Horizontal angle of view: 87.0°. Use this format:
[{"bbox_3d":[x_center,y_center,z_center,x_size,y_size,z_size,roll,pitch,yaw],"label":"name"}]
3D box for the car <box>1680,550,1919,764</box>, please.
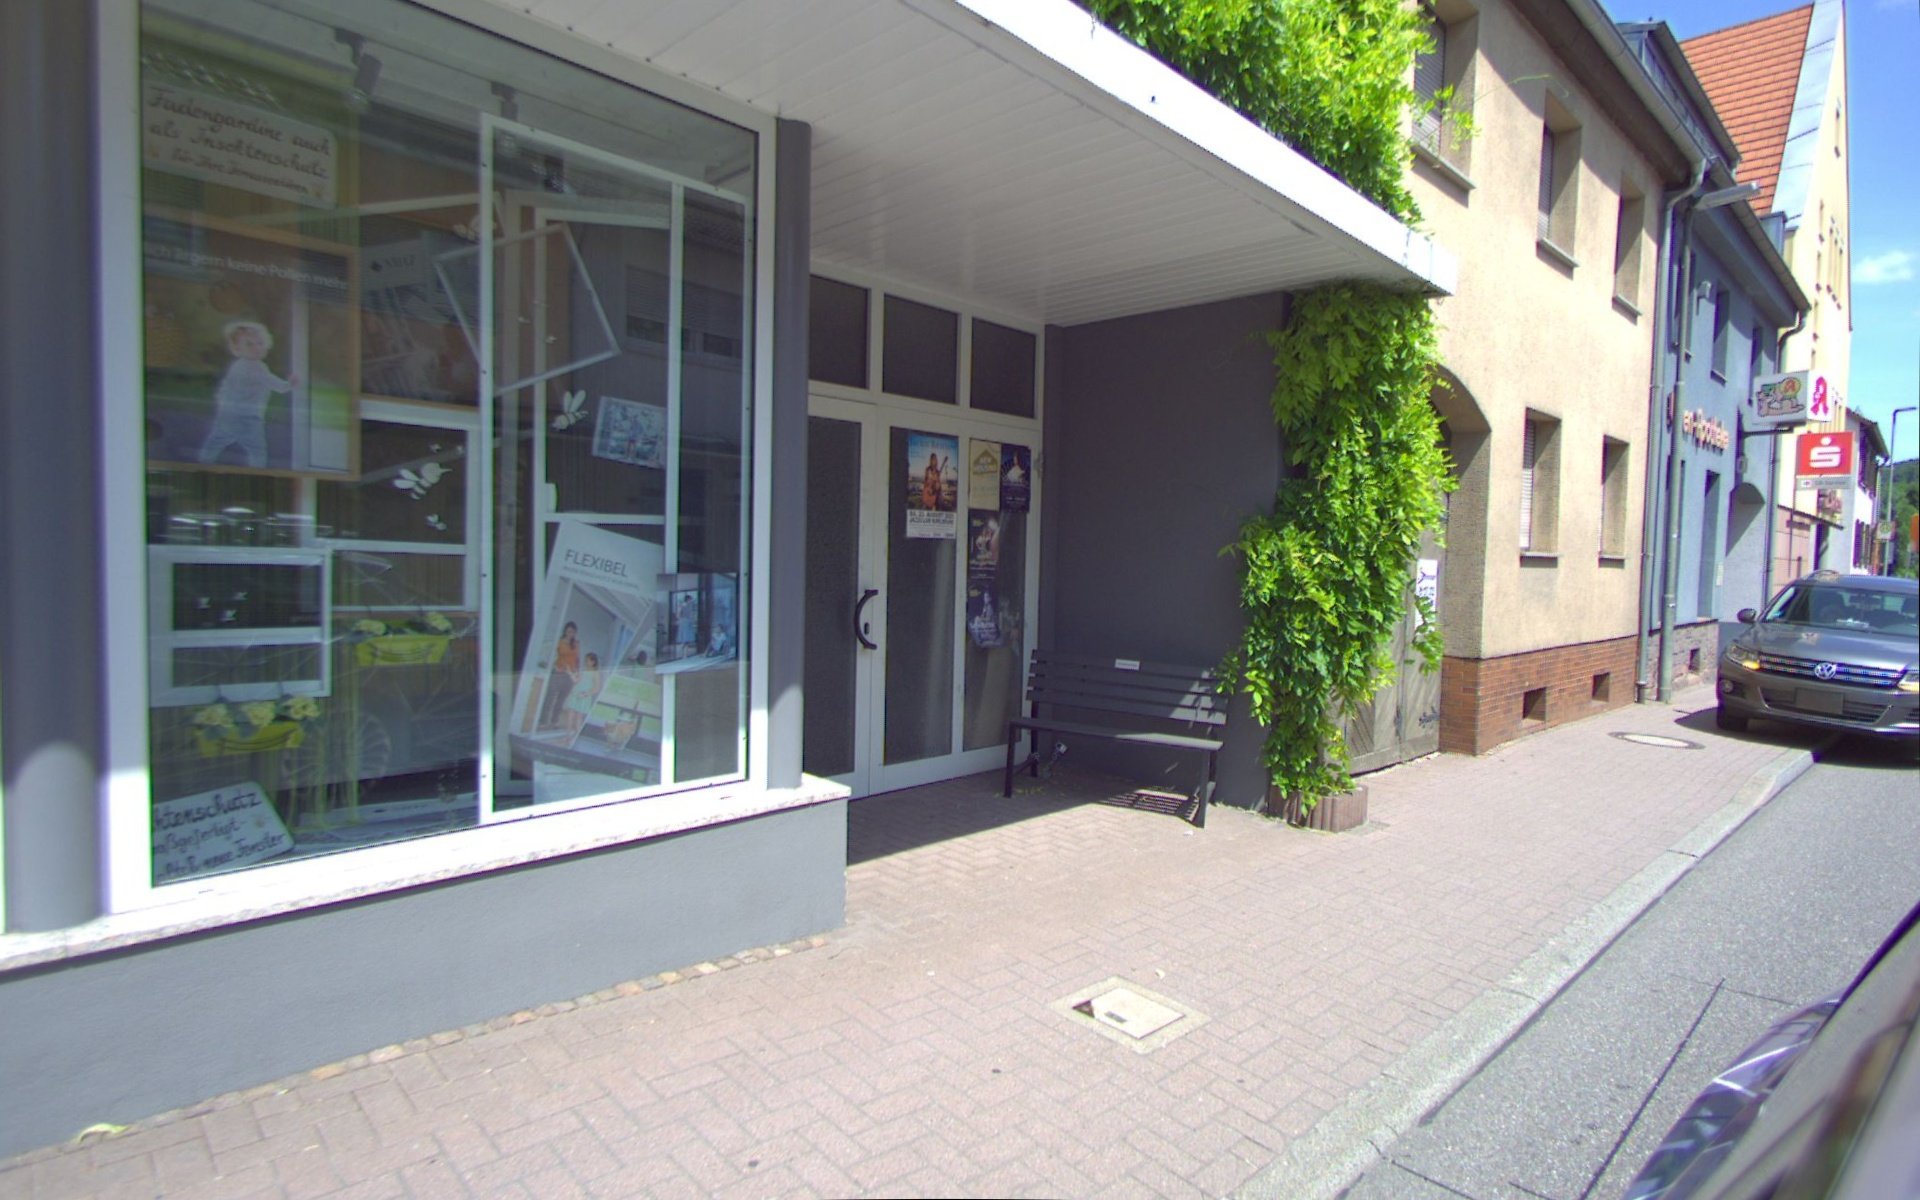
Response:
[{"bbox_3d":[9.221,0.441,10.378,4.029,1.729,1.999,-1,5,-41],"label":"car"}]
